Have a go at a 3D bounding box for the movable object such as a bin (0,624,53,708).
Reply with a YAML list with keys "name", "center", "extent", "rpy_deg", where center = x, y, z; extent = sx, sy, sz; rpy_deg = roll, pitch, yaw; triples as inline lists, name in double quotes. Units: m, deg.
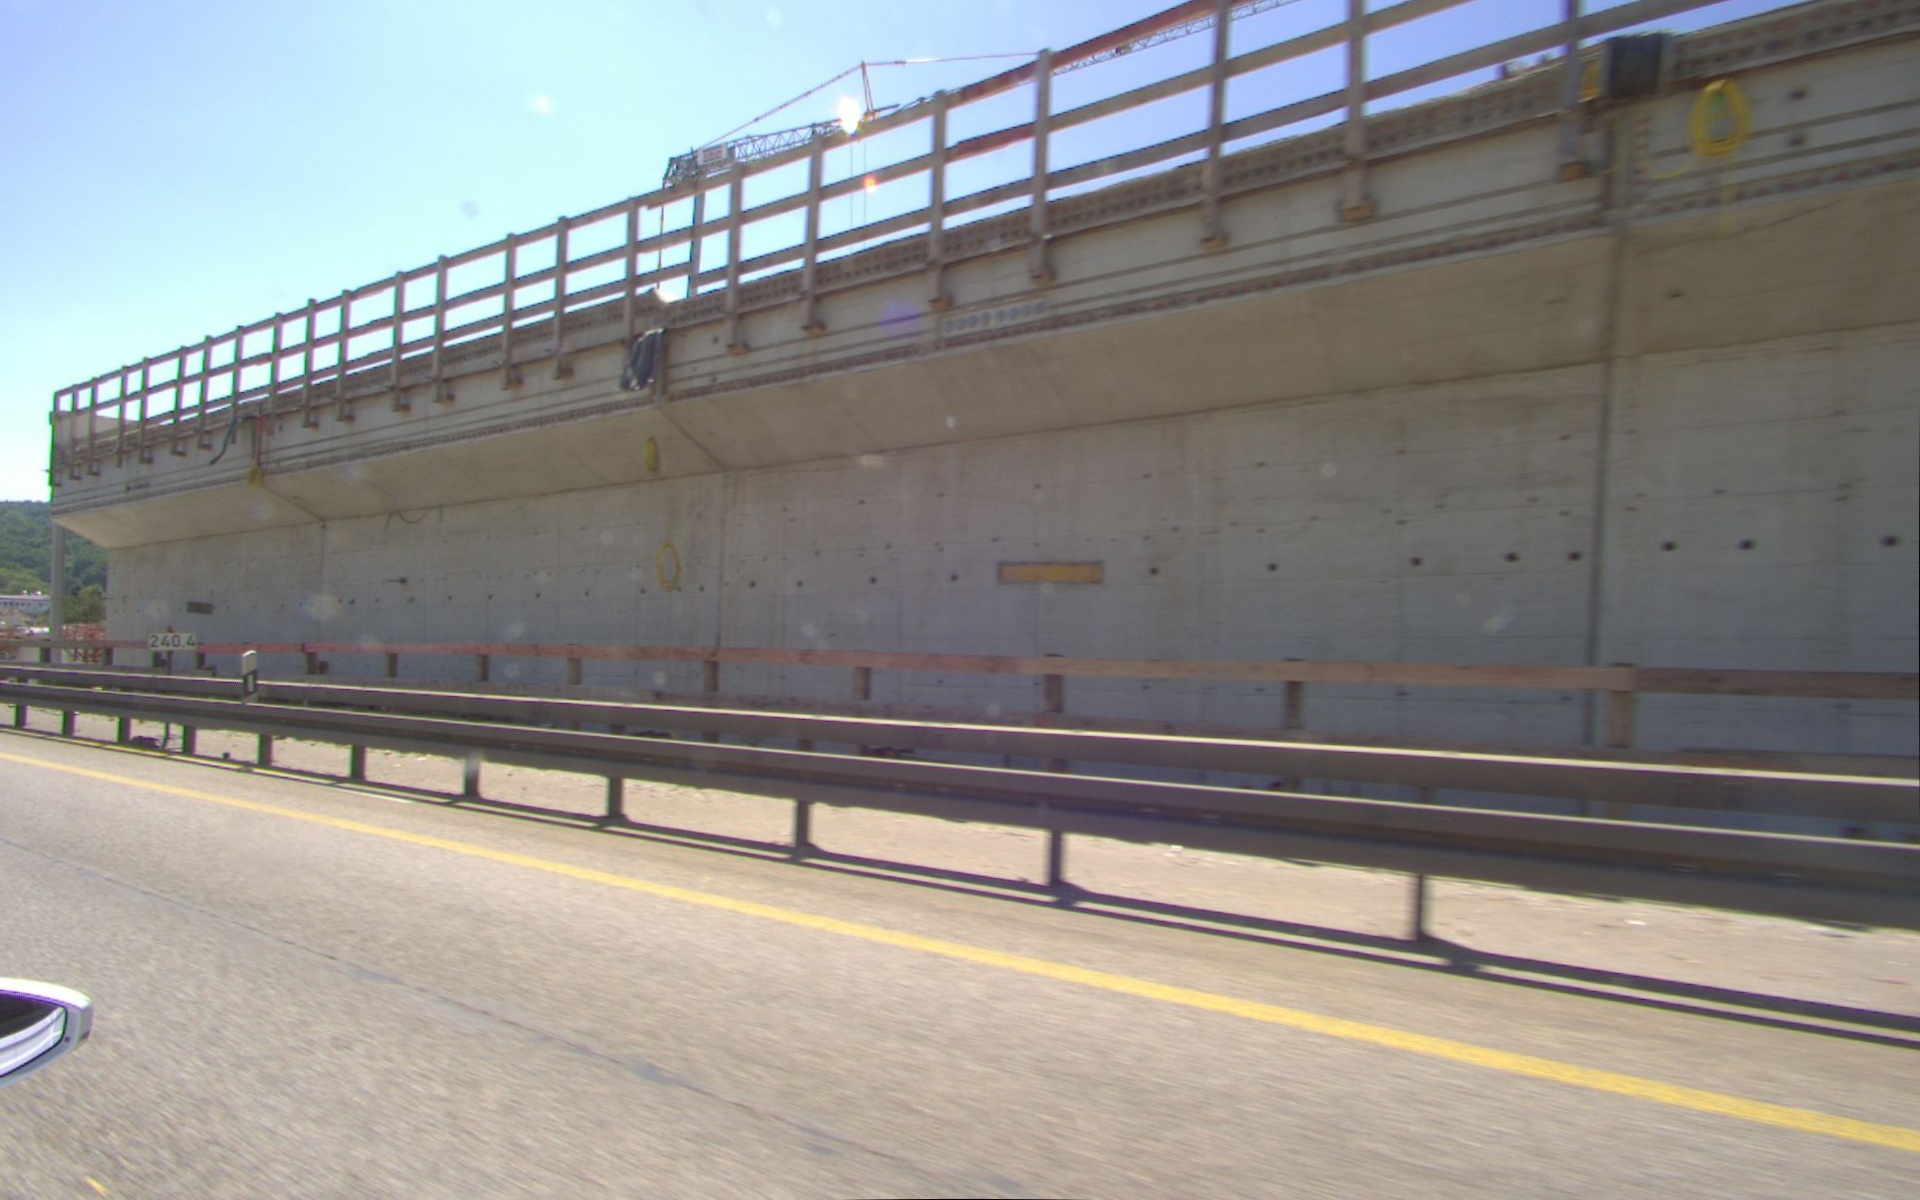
- name: "movable object such as a bin"
  center: [-58.275, 3.910, 60.077]
  extent: [9.518, 4.803, 3.222]
  rpy_deg: [-2, -2, 32]
